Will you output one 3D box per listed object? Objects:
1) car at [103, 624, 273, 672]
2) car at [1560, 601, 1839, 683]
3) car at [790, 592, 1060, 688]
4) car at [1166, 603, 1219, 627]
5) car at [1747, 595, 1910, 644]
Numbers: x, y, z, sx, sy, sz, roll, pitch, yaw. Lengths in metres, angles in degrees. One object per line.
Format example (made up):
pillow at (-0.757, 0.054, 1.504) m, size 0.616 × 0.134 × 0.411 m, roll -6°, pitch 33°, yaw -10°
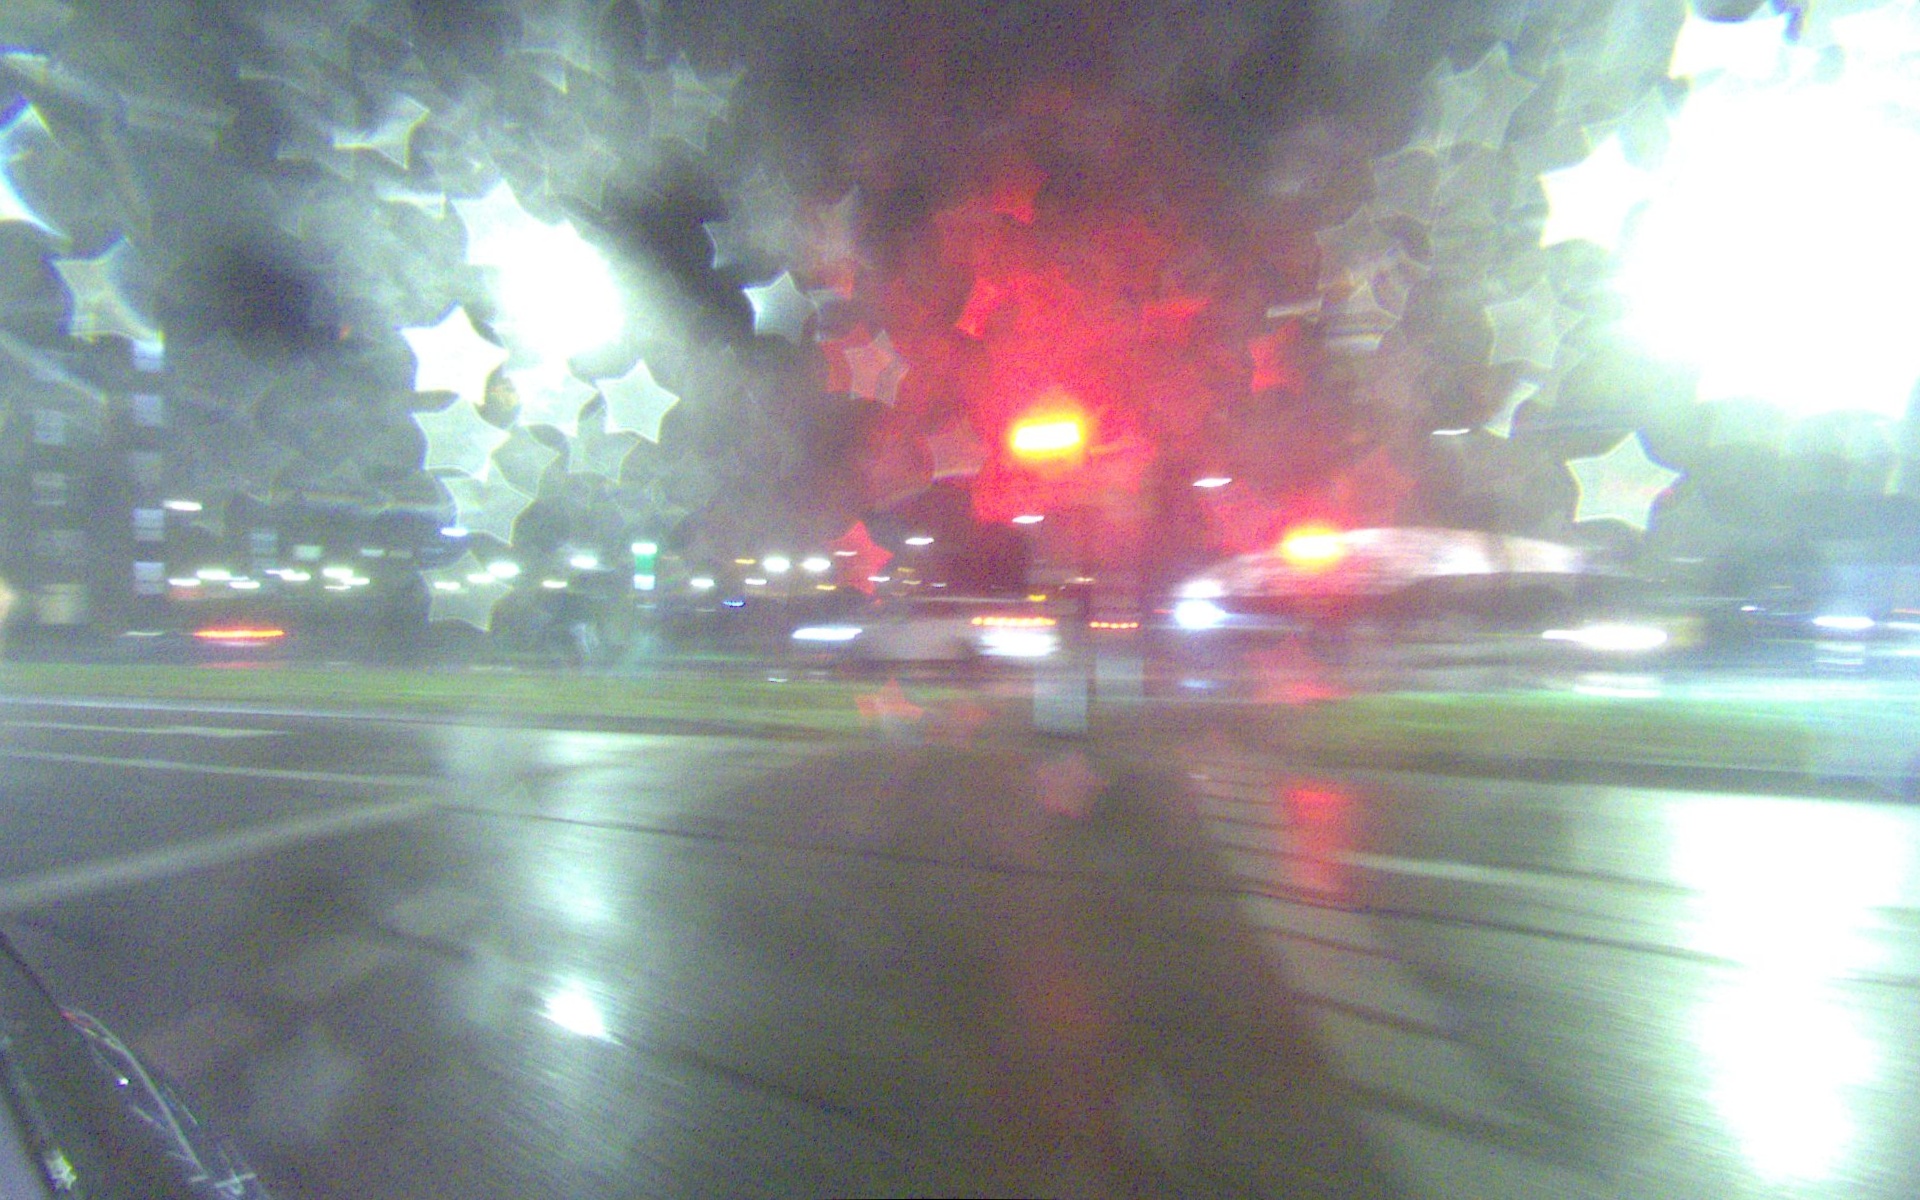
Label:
car at (-25.515, 1.546, 33.454) m, size 5.311 × 1.413 × 1.986 m, roll -1°, pitch 1°, yaw 21°
car at (15.560, 0.853, 21.512) m, size 4.358 × 1.552 × 1.998 m, roll -1°, pitch 1°, yaw 3°
car at (-0.645, 0.770, 20.123) m, size 4.993 × 1.728 × 2.061 m, roll -1°, pitch 1°, yaw 15°
car at (16.380, 1.044, 71.504) m, size 1.650 × 1.541 × 4.013 m, roll -1°, pitch 1°, yaw -21°
car at (30.527, 0.629, 35.719) m, size 1.729 × 1.586 × 4.013 m, roll -1°, pitch 1°, yaw -24°
